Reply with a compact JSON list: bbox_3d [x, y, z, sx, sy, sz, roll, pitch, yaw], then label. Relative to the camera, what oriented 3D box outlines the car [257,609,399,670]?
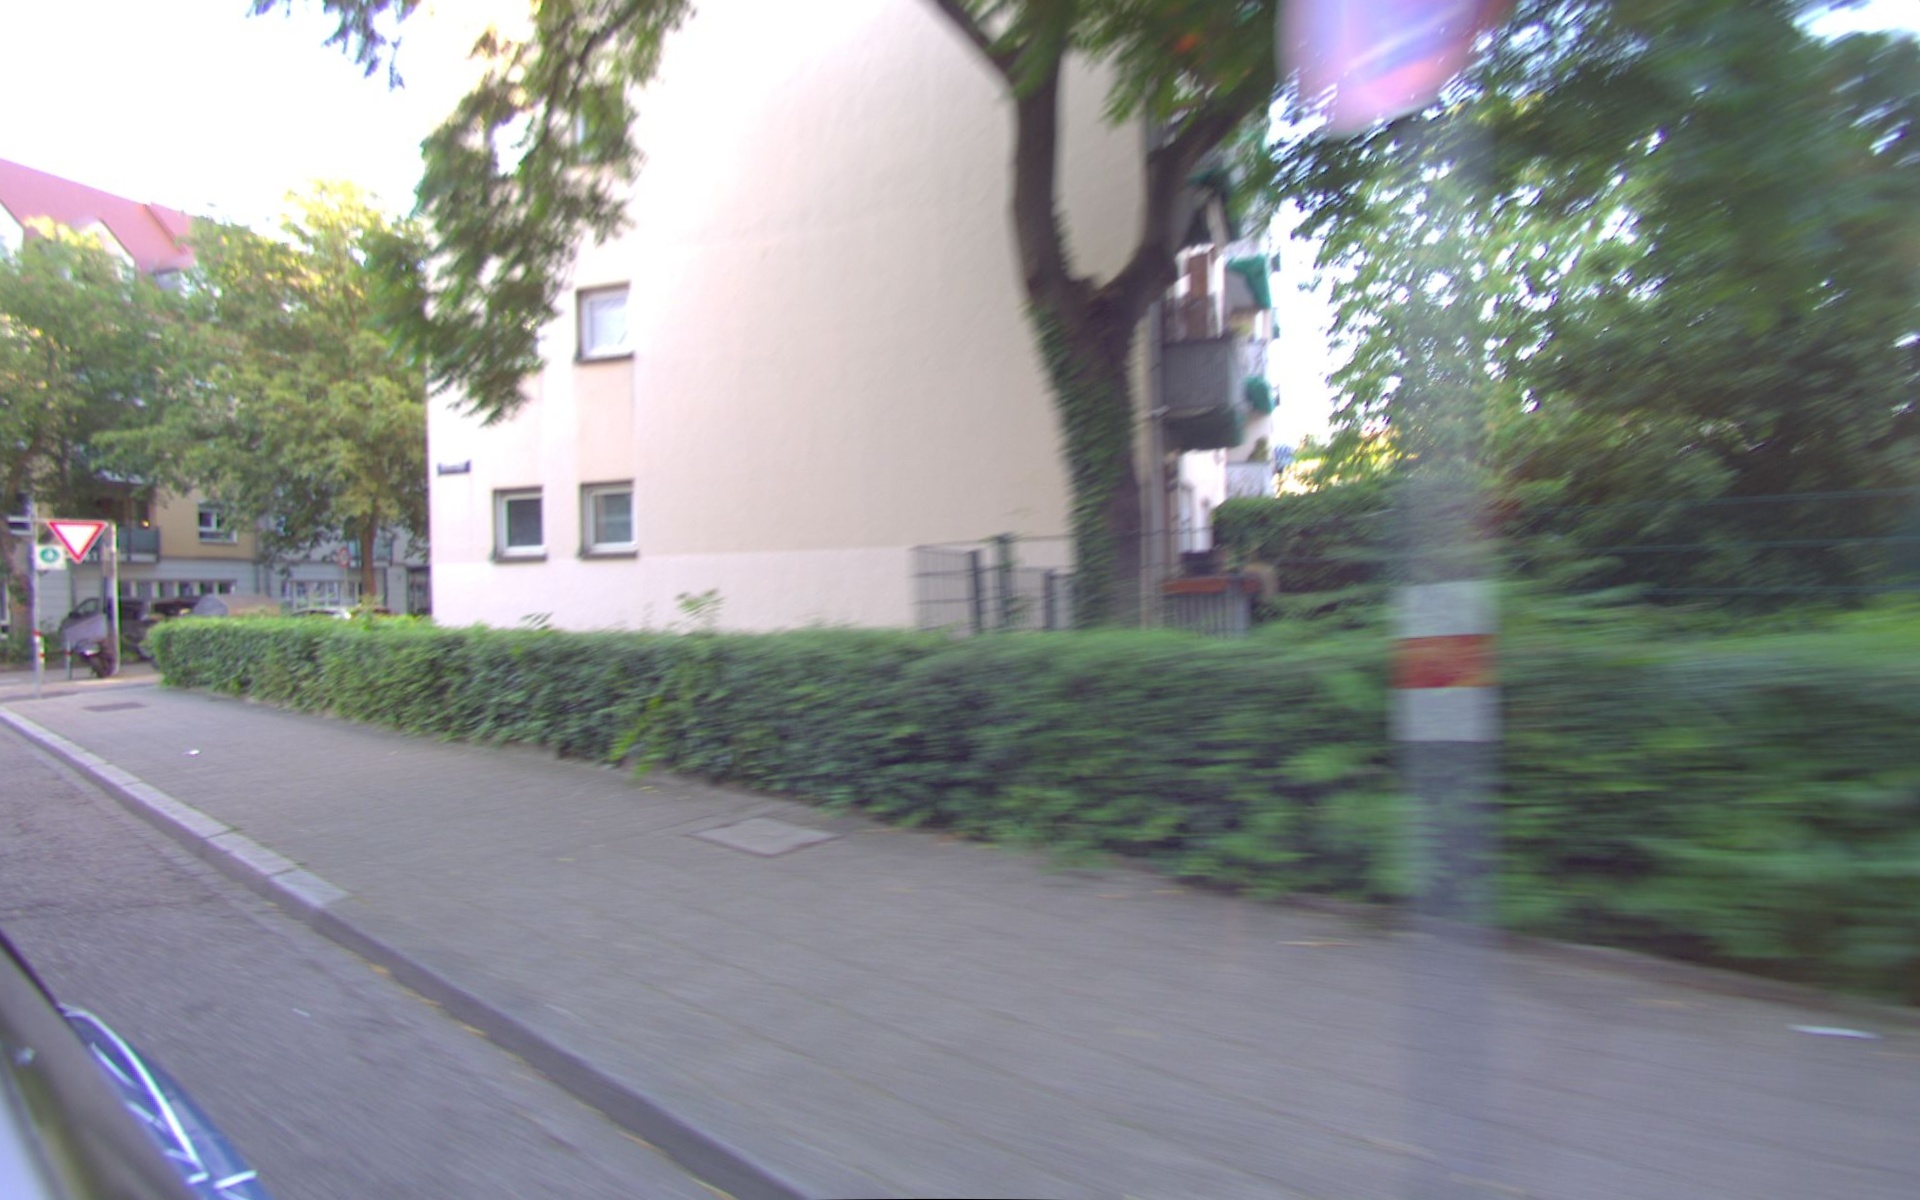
[{"bbox_3d":[-16.979,1.041,27.185,3.480,1.518,1.619,-1,0,25],"label":"car"}]

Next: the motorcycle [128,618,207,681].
[{"bbox_3d":[-18.516,1.144,23.633,1.958,1.417,0.567,-1,0,23],"label":"motorcycle"}]

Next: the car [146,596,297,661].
[{"bbox_3d":[-25.762,0.948,35.341,4.296,2.092,2.214,1,0,20],"label":"car"}]

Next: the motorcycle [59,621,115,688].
[{"bbox_3d":[-18.895,1.145,21.943,0.846,1.363,1.962,-1,0,-39],"label":"motorcycle"}]

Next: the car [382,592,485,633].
[{"bbox_3d":[-23.443,0.538,45.119,3.972,1.741,1.986,0,1,22],"label":"car"}]

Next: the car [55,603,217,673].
[{"bbox_3d":[-26.922,1.179,33.112,4.296,2.092,2.214,1,0,20],"label":"car"}]
